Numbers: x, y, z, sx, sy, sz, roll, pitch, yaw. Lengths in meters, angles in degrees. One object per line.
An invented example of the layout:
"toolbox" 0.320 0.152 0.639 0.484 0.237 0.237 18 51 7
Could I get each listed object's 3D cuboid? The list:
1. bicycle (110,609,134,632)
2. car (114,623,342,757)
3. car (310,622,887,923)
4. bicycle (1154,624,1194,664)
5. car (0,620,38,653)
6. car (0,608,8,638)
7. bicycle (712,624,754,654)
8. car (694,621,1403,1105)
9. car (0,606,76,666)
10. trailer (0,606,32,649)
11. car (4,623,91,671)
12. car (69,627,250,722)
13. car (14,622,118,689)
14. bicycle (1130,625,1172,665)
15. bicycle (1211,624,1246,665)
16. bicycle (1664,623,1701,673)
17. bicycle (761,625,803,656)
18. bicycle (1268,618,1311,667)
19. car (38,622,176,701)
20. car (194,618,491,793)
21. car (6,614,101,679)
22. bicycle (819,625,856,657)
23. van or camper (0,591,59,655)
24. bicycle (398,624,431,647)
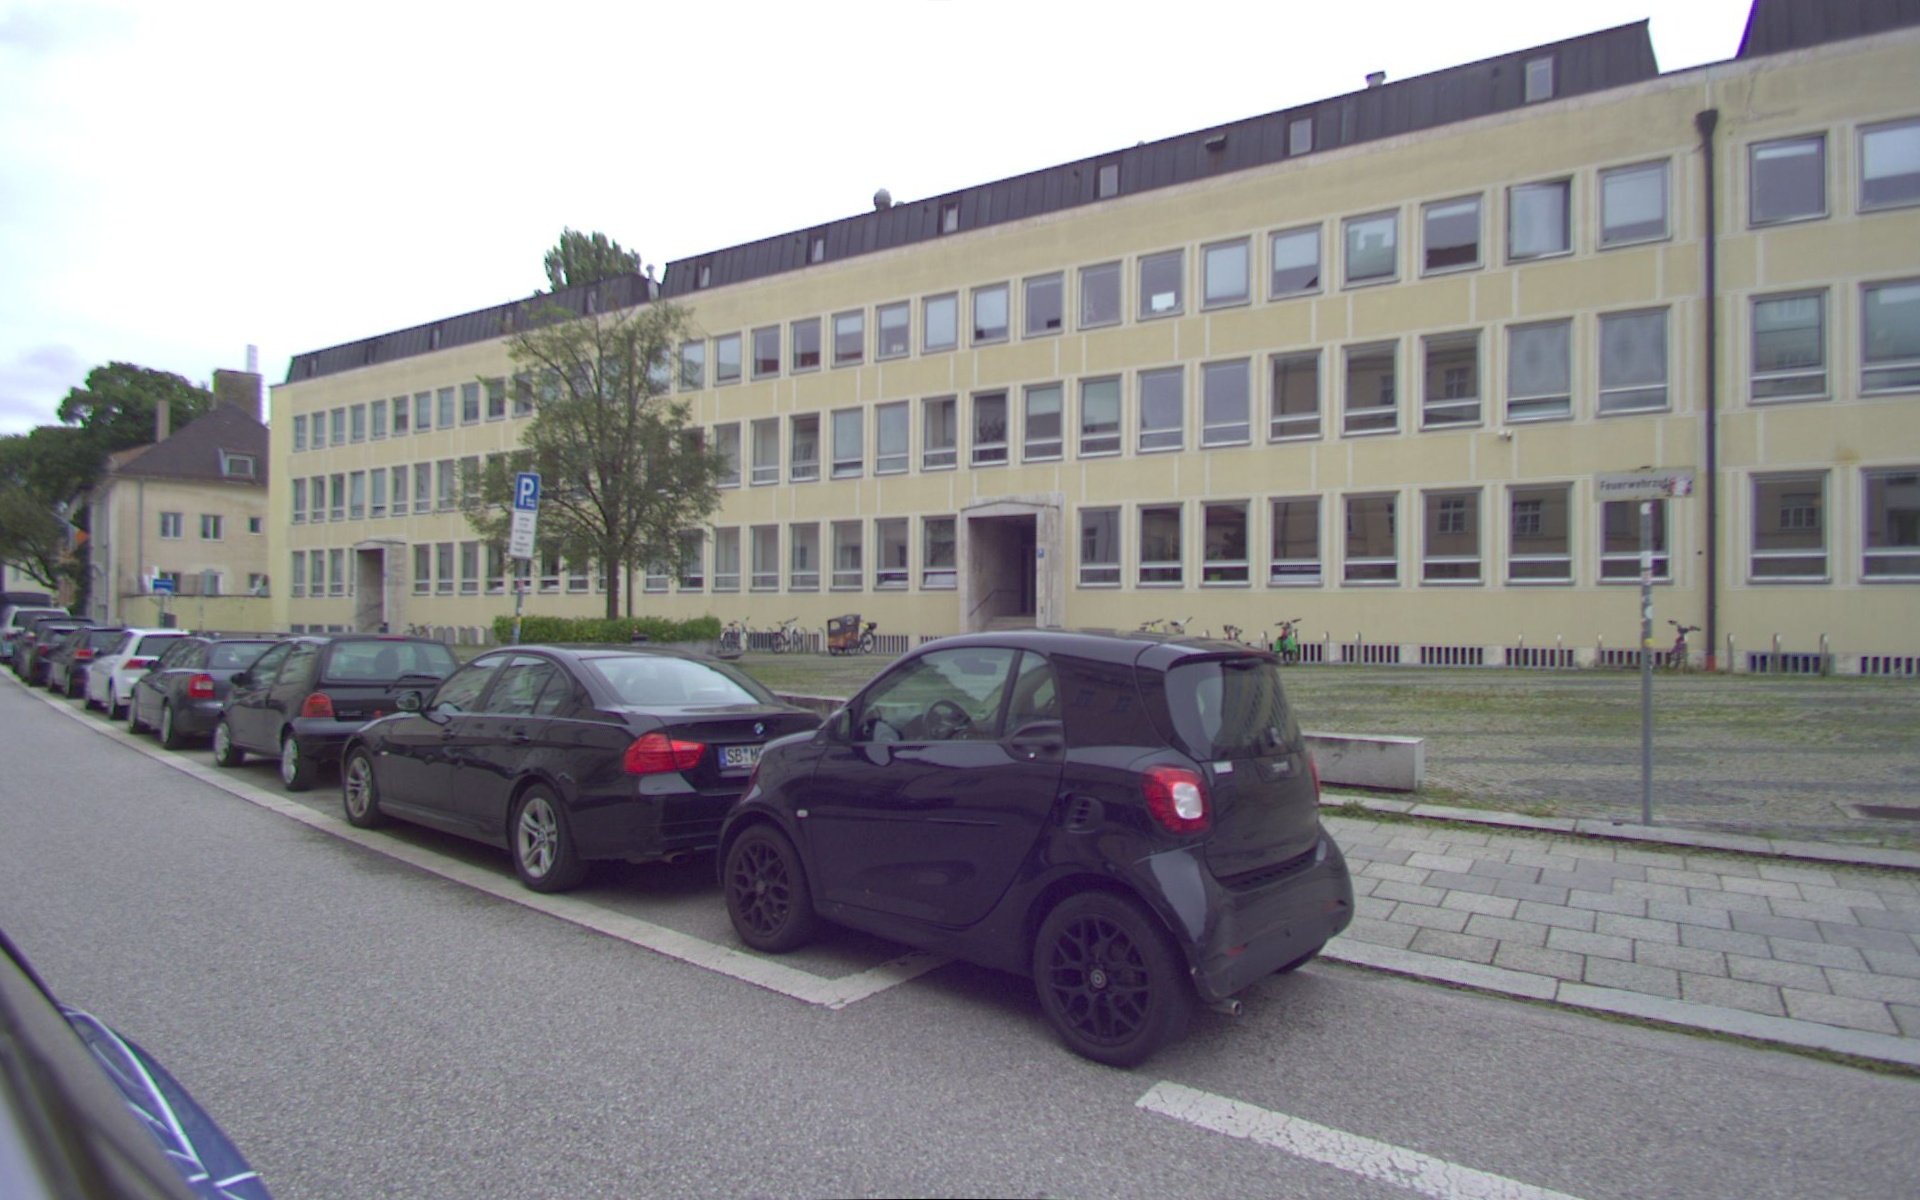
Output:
"bicycle" -45.115 1.105 54.452 1.869 1.243 0.793 0 -1 45
"car" -9.881 1.081 13.530 4.275 1.506 1.613 -1 -3 43
"car" -2.740 0.921 7.101 4.462 1.477 1.756 -1 -4 40
"bicycle" 5.561 1.124 26.233 0.413 0.952 1.844 -1 0 32
"car" -45.702 1.731 48.627 3.908 1.508 1.635 -1 -3 42
"car" -80.697 1.896 84.071 2.087 2.495 5.234 3 -3 -45
"bicycle" -7.751 1.334 34.595 0.500 0.952 1.595 -1 0 26
"car" 0.296 0.861 4.631 2.884 1.477 1.504 -1 -4 40
"car" -32.762 1.265 35.635 4.961 1.975 1.894 -2 -4 43
"trailer" -57.538 1.610 61.096 1.951 2.490 4.583 5 -4 -41
"car" -29.196 1.486 32.346 3.711 1.417 1.784 -1 -4 45
"car" -13.910 1.200 17.496 4.293 1.433 1.722 -1 -3 42
"car" -21.942 1.315 24.793 3.821 1.506 1.612 -1 -3 45
"bicycle" 5.025 1.152 26.541 0.413 0.952 1.937 -1 0 32
"bicycle" 6.780 1.099 25.488 0.413 0.952 1.395 -1 0 34
"bicycle" 14.926 0.972 20.915 0.412 0.952 1.398 -1 0 27
"bicycle" -5.858 1.312 33.353 0.500 0.952 1.595 -1 0 26
"bicycle" 8.094 1.028 24.827 0.699 1.104 1.834 -1 0 27
"car" -18.199 1.254 21.529 4.099 1.506 1.613 -1 -3 42
"car" -6.526 0.978 10.563 3.602 1.506 1.613 -1 -4 42
"car" -25.583 1.262 28.519 4.143 1.702 1.695 -1 -3 45
"bicycle" -3.868 1.284 32.057 0.499 0.952 1.598 -1 0 20
"van or camper" -41.845 1.014 45.069 2.266 2.671 5.566 4 -3 -43
"bicycle" -23.948 1.531 44.423 0.410 0.952 1.404 -1 0 16
